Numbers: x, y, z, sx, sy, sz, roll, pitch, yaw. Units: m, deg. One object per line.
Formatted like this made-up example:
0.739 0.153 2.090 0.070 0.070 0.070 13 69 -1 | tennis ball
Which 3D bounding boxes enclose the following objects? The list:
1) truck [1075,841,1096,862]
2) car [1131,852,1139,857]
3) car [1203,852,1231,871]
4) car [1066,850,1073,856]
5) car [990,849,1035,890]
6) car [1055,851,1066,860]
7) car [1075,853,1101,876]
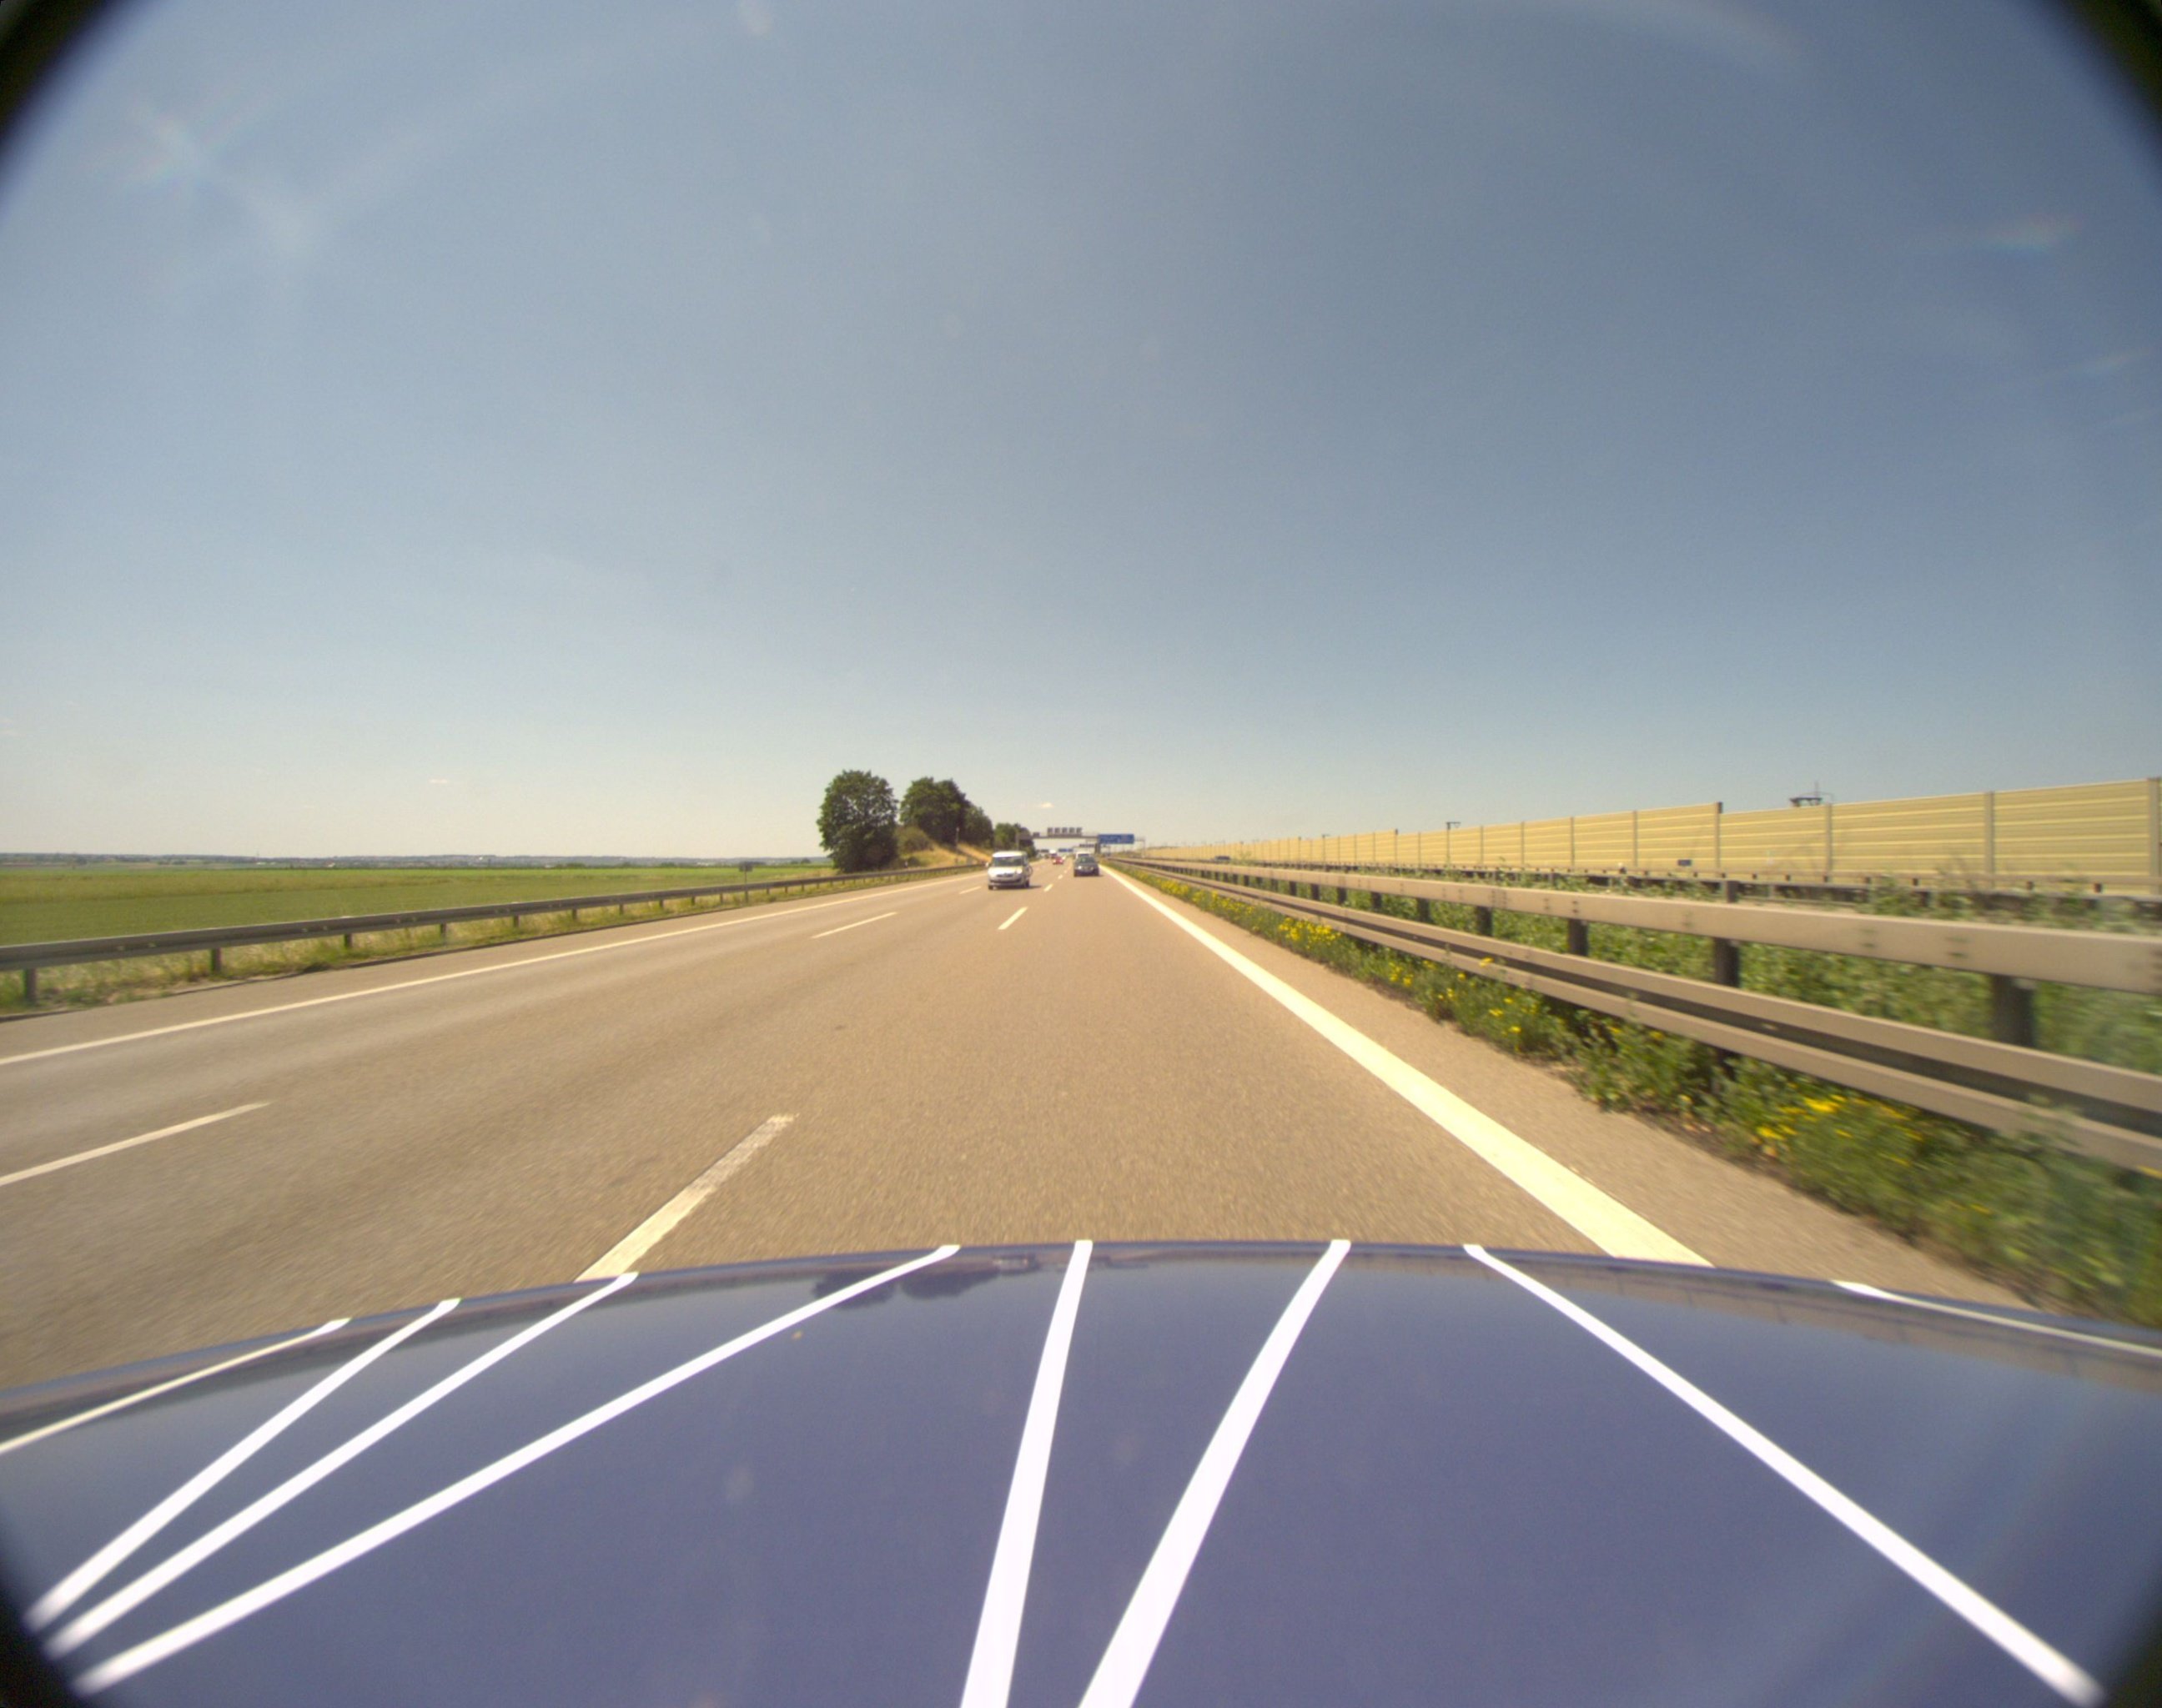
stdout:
0.500 -0.376 93.414 2.333 2.378 6.685 -2 1 -1 | truck
17.016 0.172 240.236 1.999 1.455 4.813 -1 0 0 | car
13.195 0.701 73.723 1.998 1.674 3.999 -2 1 1 | car
-2.966 -0.259 192.207 1.723 1.514 3.581 -2 1 -1 | car
-3.373 0.727 38.254 1.812 1.836 5.311 -2 0 -1 | car
-3.460 0.274 129.171 1.723 1.514 3.581 -2 1 -1 | car
0.456 0.747 54.891 1.715 1.586 4.546 0 0 -1 | car
